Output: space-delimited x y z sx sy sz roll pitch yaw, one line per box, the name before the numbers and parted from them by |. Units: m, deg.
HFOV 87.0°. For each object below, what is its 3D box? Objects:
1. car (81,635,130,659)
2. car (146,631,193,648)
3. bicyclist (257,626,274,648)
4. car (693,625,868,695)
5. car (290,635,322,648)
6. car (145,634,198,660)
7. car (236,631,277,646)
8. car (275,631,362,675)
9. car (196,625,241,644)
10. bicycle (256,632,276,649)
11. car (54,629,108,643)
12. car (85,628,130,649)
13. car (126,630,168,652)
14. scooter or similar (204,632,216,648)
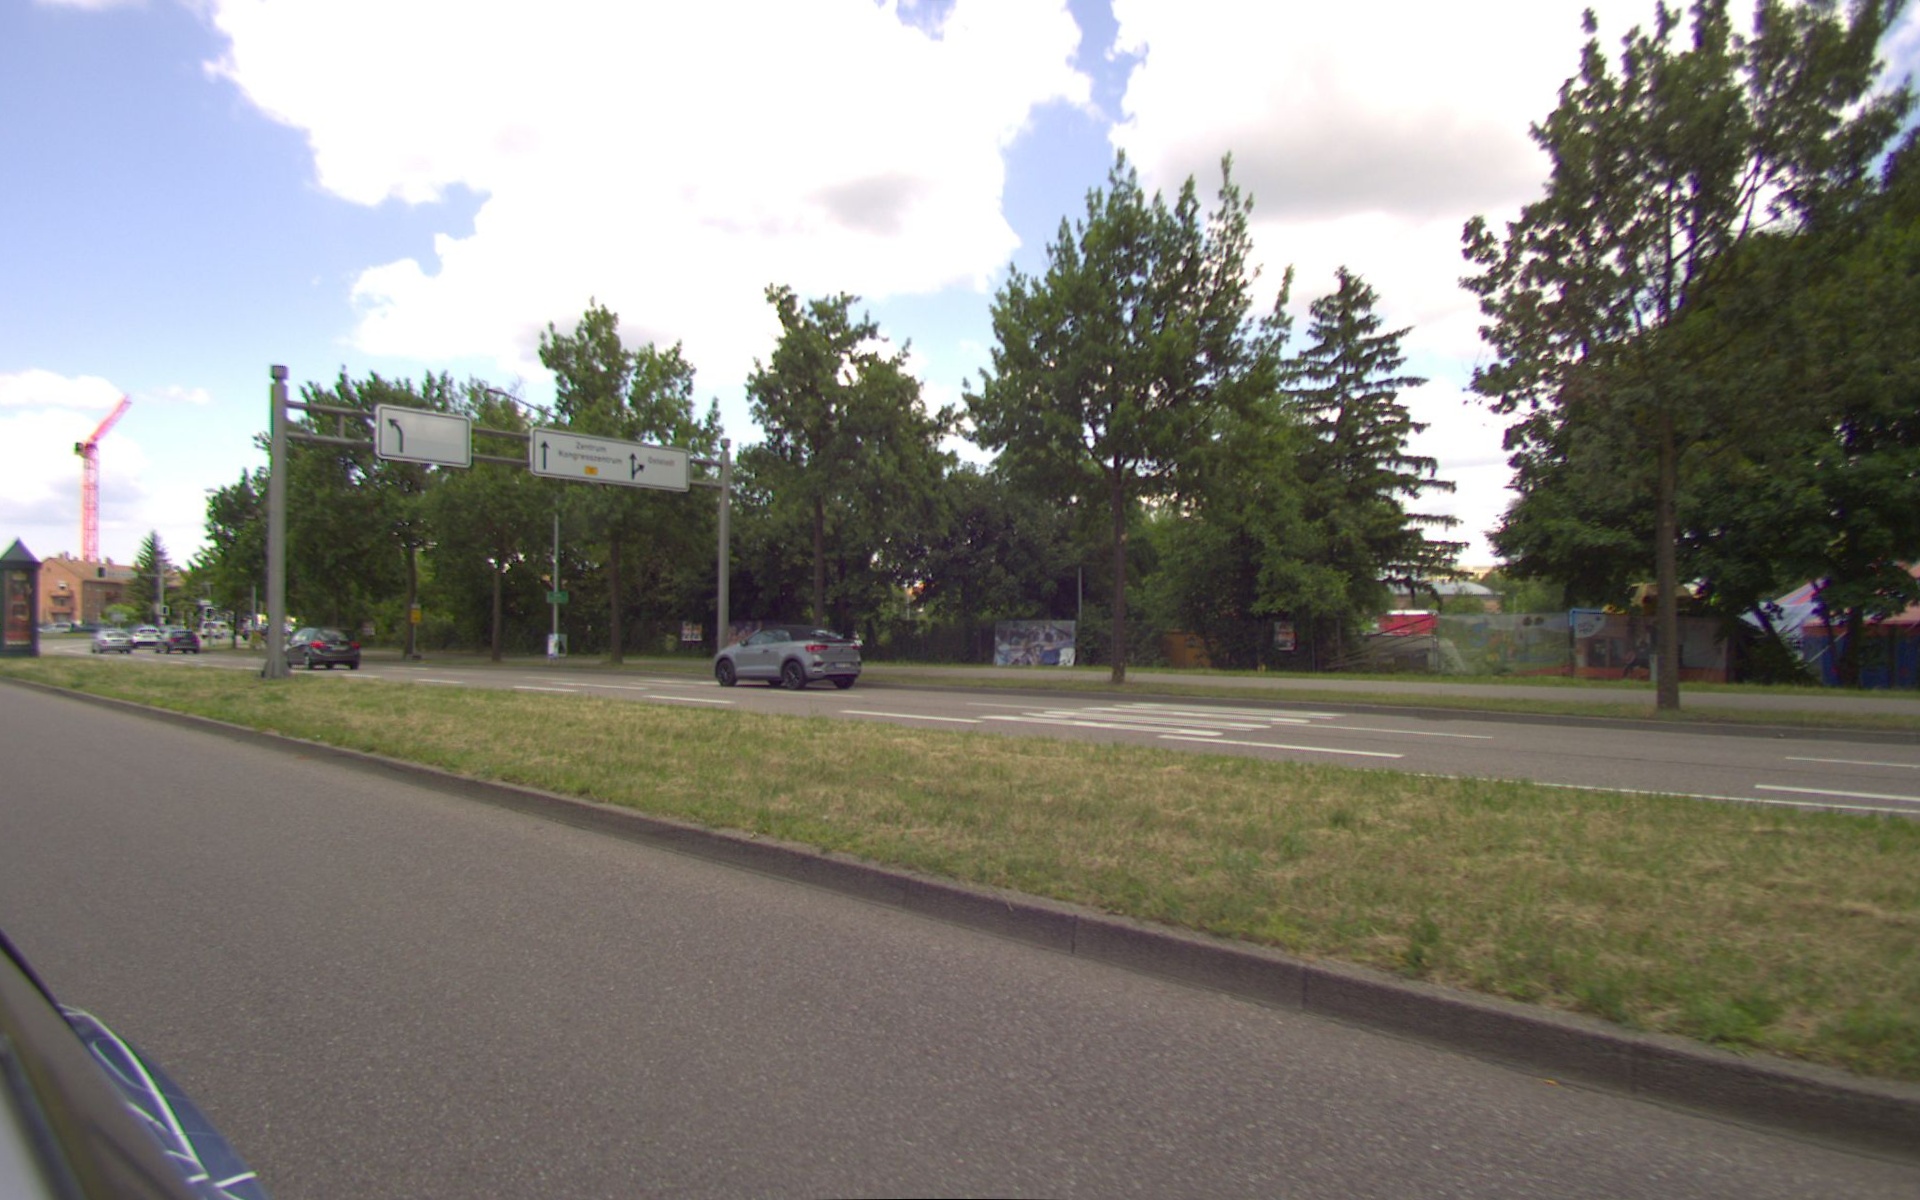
car | -54.318 2.954 64.279 4.307 1.451 1.744 -2 -2 41
car | -71.919 3.616 92.109 1.812 1.491 4.767 2 -2 -18
bicyclist | -52.245 2.766 76.123 0.883 1.576 0.821 -1 1 41
car | -4.482 1.422 24.848 4.570 1.557 1.723 -2 -3 40
car | -72.139 4.540 111.691 1.594 1.358 4.180 1 -2 -12
car | -51.577 3.036 66.186 5.028 1.589 1.745 -2 -2 41
car | -69.109 3.793 99.453 1.813 1.454 4.431 1 -2 -14
car | -24.666 1.992 38.870 4.274 1.581 1.723 -2 -3 42
car | -74.647 3.496 101.962 1.813 1.813 4.799 1 -2 -13
bicycle | -52.192 3.051 76.103 2.015 1.228 0.753 -1 1 41
car | -105.488 4.266 121.496 4.515 1.604 1.919 0 -1 -14
car | -67.846 3.017 80.599 1.698 1.603 5.028 1 -2 -28
car | -61.002 3.057 76.008 1.883 1.552 4.381 1 -2 -31
scooter or similar | -57.585 3.043 77.697 0.534 1.175 1.441 0 -1 -45
